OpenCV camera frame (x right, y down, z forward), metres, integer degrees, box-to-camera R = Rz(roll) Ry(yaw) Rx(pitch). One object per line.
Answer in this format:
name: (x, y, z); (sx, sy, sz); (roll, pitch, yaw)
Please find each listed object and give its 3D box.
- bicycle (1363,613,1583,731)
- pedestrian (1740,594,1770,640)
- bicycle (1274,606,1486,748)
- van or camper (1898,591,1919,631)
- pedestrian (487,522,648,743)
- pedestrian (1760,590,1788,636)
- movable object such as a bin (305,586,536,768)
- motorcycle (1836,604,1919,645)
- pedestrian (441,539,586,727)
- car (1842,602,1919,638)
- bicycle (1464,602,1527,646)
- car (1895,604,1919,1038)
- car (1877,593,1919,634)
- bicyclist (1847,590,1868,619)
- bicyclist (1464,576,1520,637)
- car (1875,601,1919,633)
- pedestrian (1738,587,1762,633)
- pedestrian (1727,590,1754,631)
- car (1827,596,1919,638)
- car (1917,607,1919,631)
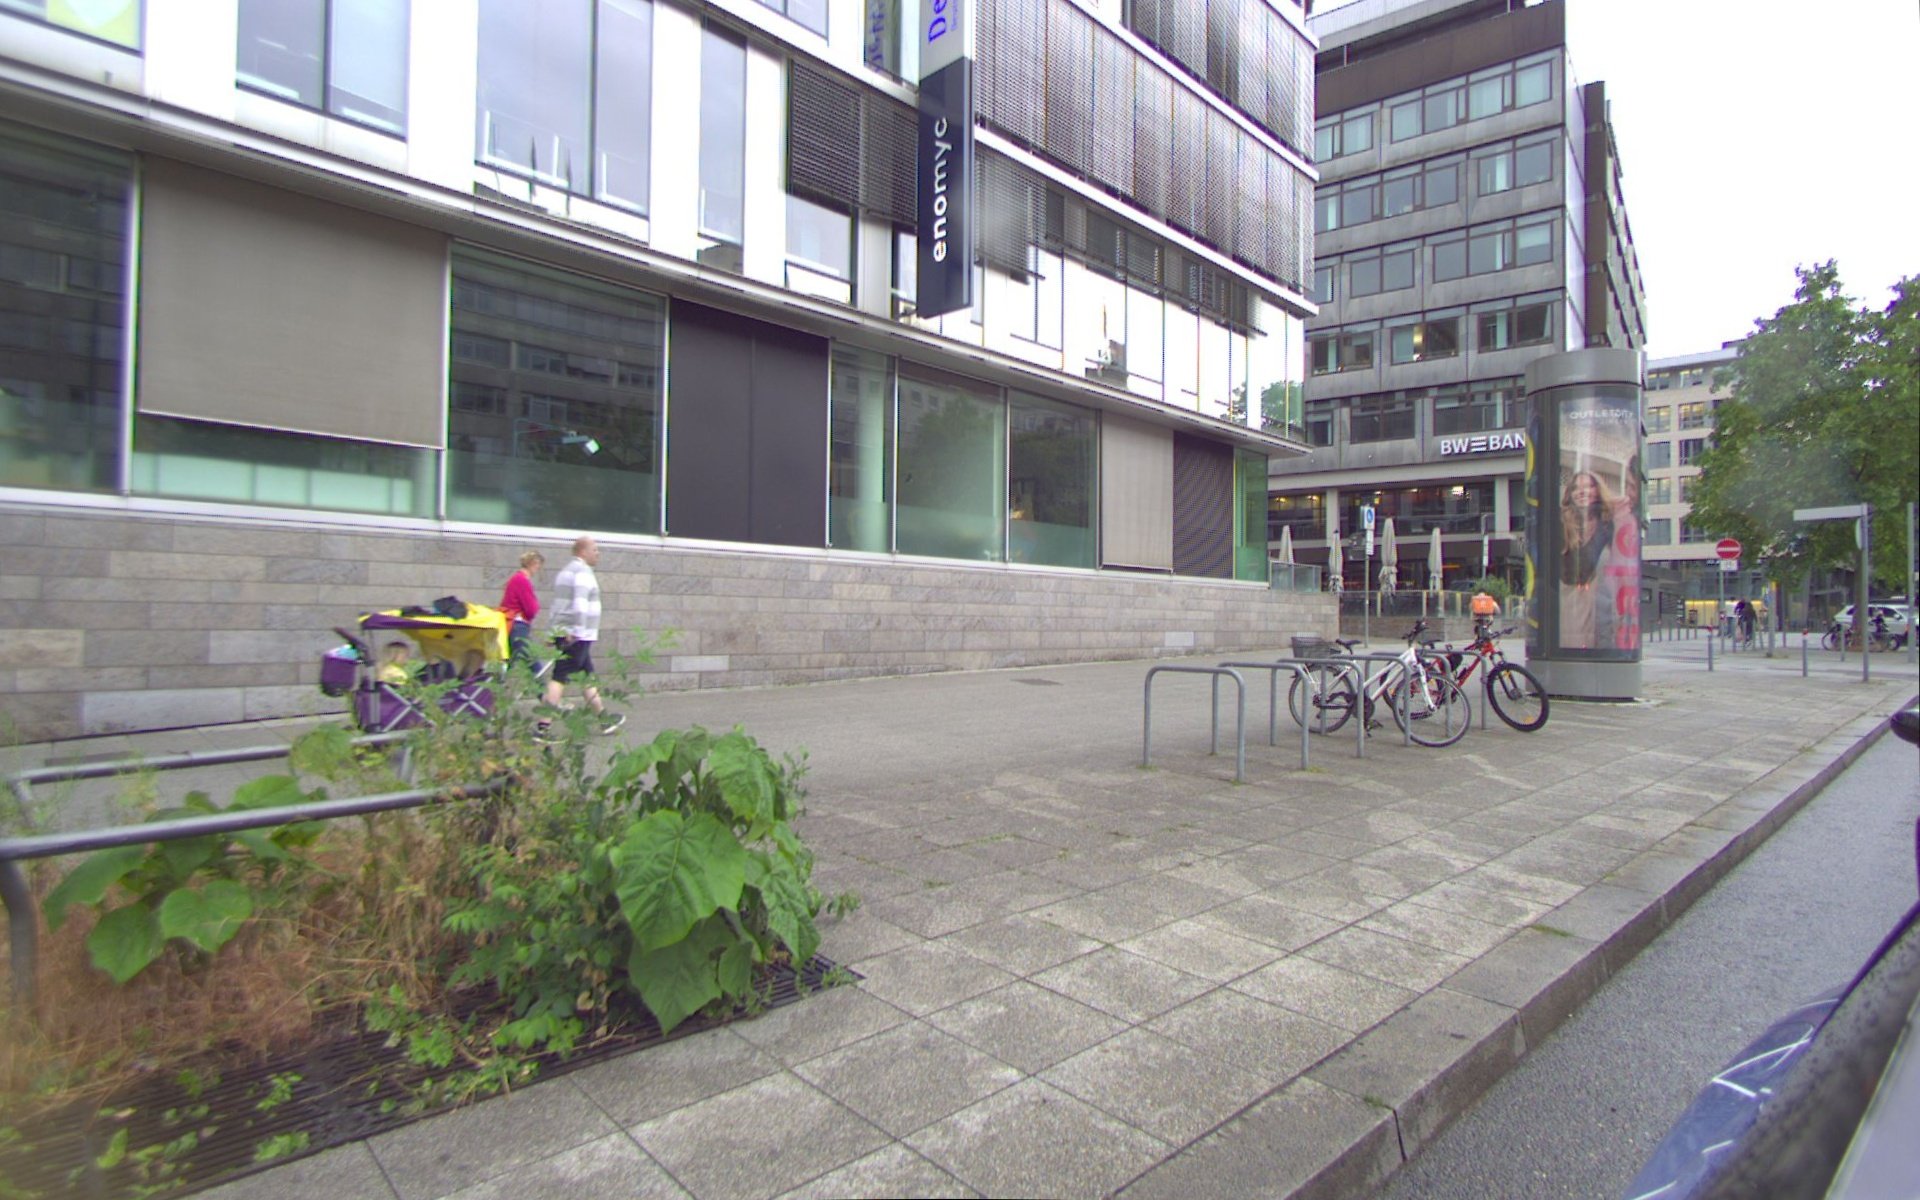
bicycle: (5.509, 0.718, 10.983); (0.793, 1.118, 1.989); (1, 0, -37)
pedestrian: (29.858, 0.656, 38.028); (0.712, 1.707, 0.526); (-1, -2, 19)
bicycle: (4.049, 0.686, 9.891); (0.648, 1.212, 1.841); (1, 0, -37)
van or camper: (61.337, 0.636, 61.431); (2.267, 2.479, 6.275); (0, -1, -11)
pedestrian: (-3.479, 0.252, 8.977); (0.900, 1.814, 1.030); (2, 1, 44)
pedestrian: (37.273, 0.611, 46.332); (0.740, 2.065, 0.851); (1, -2, -42)
movable object such as a bin: (-4.185, 0.556, 7.903); (1.420, 1.280, 0.732); (2, -2, -44)
motorcycle: (31.785, 0.849, 35.039); (0.664, 1.375, 2.090); (1, -2, -34)
pedestrian: (-4.327, 0.288, 9.830); (0.718, 1.711, 1.082); (2, 1, 44)
car: (41.083, 0.858, 43.397); (1.877, 1.493, 4.729); (0, -1, -9)
bicycle: (14.744, 0.631, 27.848); (1.009, 1.128, 2.034); (1, 1, 44)
car: (5.070, 0.730, 4.075); (3.769, 1.435, 1.631); (0, -1, -43)
car: (48.792, 0.662, 50.231); (1.882, 2.018, 4.525); (0, -1, -12)
bicyclist: (56.423, 0.291, 63.627); (1.062, 1.772, 0.810); (-1, -4, -44)
bicyclist: (14.535, 0.185, 27.651); (1.011, 1.603, 1.118); (-4, -3, 43)
car: (46.782, 0.808, 48.220); (1.876, 1.557, 4.399); (0, -1, -14)
pedestrian: (33.817, 0.432, 43.317); (0.719, 1.908, 0.646); (-2, -2, 43)
pedestrian: (36.495, 0.511, 47.317); (0.883, 1.893, 0.802); (1, -2, -42)
car: (38.725, 0.686, 41.370); (1.876, 1.671, 4.812); (0, -1, -11)
car: (58.726, 1.078, 58.931); (1.673, 1.442, 4.068); (0, -1, -12)
